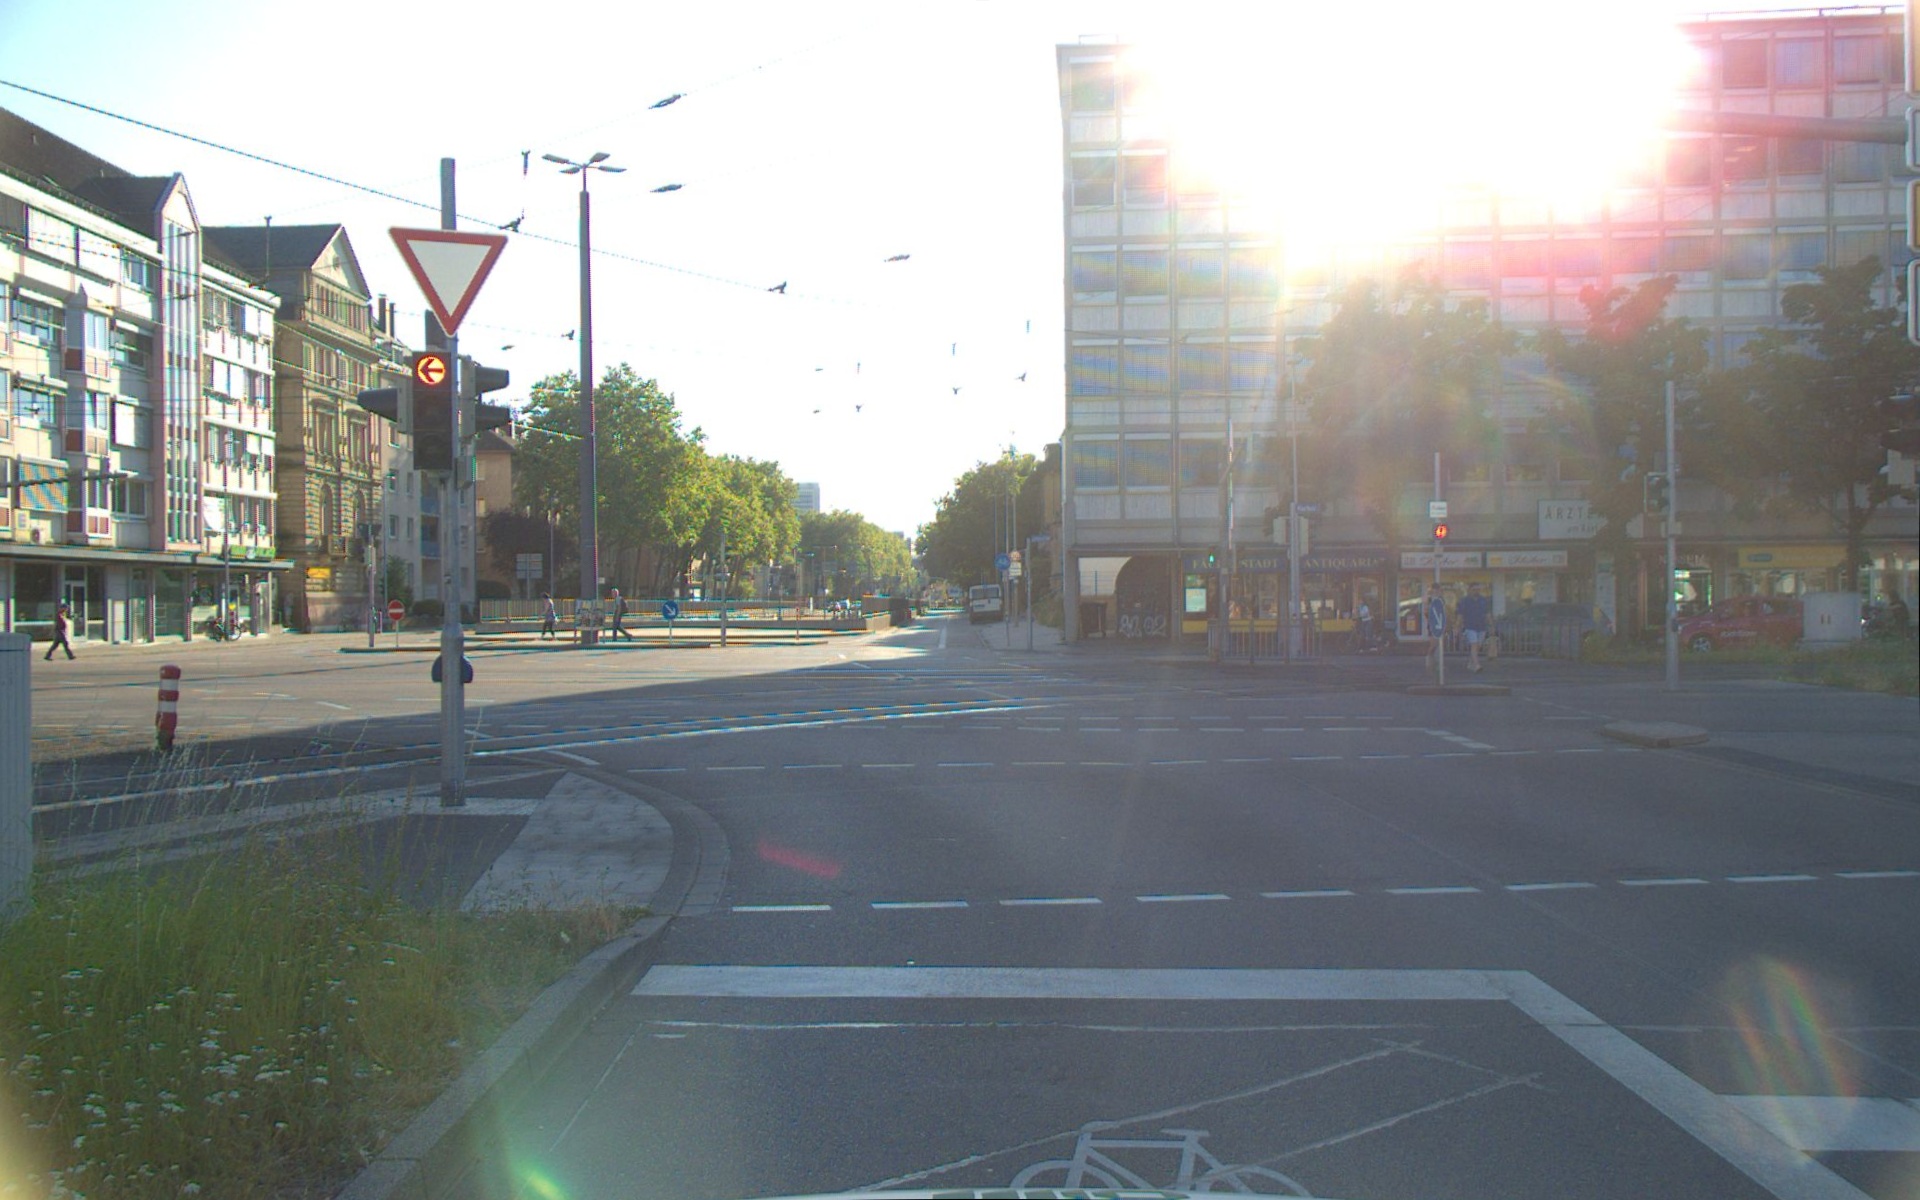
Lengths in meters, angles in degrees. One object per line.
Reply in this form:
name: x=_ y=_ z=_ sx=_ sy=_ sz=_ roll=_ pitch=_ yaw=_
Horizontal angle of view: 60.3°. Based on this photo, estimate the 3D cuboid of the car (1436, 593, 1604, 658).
car: x=15.128 y=0.679 z=44.836 sx=3.982 sy=1.646 sz=1.845 roll=1 pitch=0 yaw=4

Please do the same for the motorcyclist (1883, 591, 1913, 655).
motorcyclist: x=22.745 y=0.558 z=40.109 sx=0.451 sy=1.535 sz=0.535 roll=1 pitch=-1 yaw=4

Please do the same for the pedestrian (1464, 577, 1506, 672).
pedestrian: x=10.289 y=0.474 z=32.446 sx=0.680 sy=1.824 sz=1.043 roll=1 pitch=-1 yaw=13

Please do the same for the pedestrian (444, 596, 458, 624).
pedestrian: x=-32.142 y=0.633 z=104.430 sx=0.681 sy=1.725 sz=0.724 roll=1 pitch=-1 yaw=-1

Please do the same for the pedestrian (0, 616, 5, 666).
pedestrian: x=-29.191 y=1.228 z=49.515 sx=0.691 sy=1.479 sz=0.855 roll=1 pitch=0 yaw=-5

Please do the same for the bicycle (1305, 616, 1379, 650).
bicycle: x=11.173 y=0.968 z=48.380 sx=1.983 sy=0.957 sz=0.671 roll=1 pitch=0 yaw=-2

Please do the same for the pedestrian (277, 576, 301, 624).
pedestrian: x=-34.505 y=-0.002 z=85.075 sx=0.910 sy=2.440 sz=0.958 roll=1 pitch=-1 yaw=-11

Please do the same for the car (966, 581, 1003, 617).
car: x=1.562 y=-0.057 z=103.932 sx=2.238 sy=2.210 sz=4.834 roll=1 pitch=0 yaw=1

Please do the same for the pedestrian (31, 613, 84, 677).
pedestrian: x=-28.590 y=1.412 z=52.419 sx=1.171 sy=1.915 sz=0.856 roll=1 pitch=6 yaw=-5

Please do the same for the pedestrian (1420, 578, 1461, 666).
pedestrian: x=9.514 y=0.435 z=32.770 sx=0.680 sy=1.712 sz=1.043 roll=1 pitch=0 yaw=12

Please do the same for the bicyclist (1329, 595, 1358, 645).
bicyclist: x=11.203 y=0.580 z=48.375 sx=0.665 sy=1.449 sz=0.671 roll=1 pitch=-1 yaw=-2

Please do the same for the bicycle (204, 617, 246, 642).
bicycle: x=-32.437 y=1.288 z=73.021 sx=0.441 sy=1.089 sz=2.093 roll=1 pitch=0 yaw=16

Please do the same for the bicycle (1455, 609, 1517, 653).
bicycle: x=15.759 y=0.908 z=49.606 sx=0.735 sy=1.163 sz=2.638 roll=1 pitch=2 yaw=-6

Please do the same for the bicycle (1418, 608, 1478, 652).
bicycle: x=14.588 y=0.879 z=49.542 sx=0.735 sy=1.163 sz=2.638 roll=1 pitch=2 yaw=-6

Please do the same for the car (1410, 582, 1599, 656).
car: x=12.859 y=0.447 z=39.220 sx=3.903 sy=1.646 sz=1.845 roll=1 pitch=0 yaw=4

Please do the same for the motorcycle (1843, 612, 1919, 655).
motorcycle: x=22.881 y=0.819 z=40.094 sx=2.606 sy=1.019 sz=0.535 roll=1 pitch=0 yaw=4

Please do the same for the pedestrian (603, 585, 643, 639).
pedestrian: x=-11.036 y=0.391 z=54.154 sx=1.171 sy=1.761 sz=0.855 roll=1 pitch=-1 yaw=-5

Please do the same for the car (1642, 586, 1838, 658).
car: x=18.911 y=0.527 z=40.250 sx=3.903 sy=1.646 sz=1.845 roll=1 pitch=0 yaw=4

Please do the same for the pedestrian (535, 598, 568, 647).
pedestrian: x=-12.718 y=0.709 z=51.526 sx=0.844 sy=1.491 sz=0.679 roll=1 pitch=-6 yaw=-30
